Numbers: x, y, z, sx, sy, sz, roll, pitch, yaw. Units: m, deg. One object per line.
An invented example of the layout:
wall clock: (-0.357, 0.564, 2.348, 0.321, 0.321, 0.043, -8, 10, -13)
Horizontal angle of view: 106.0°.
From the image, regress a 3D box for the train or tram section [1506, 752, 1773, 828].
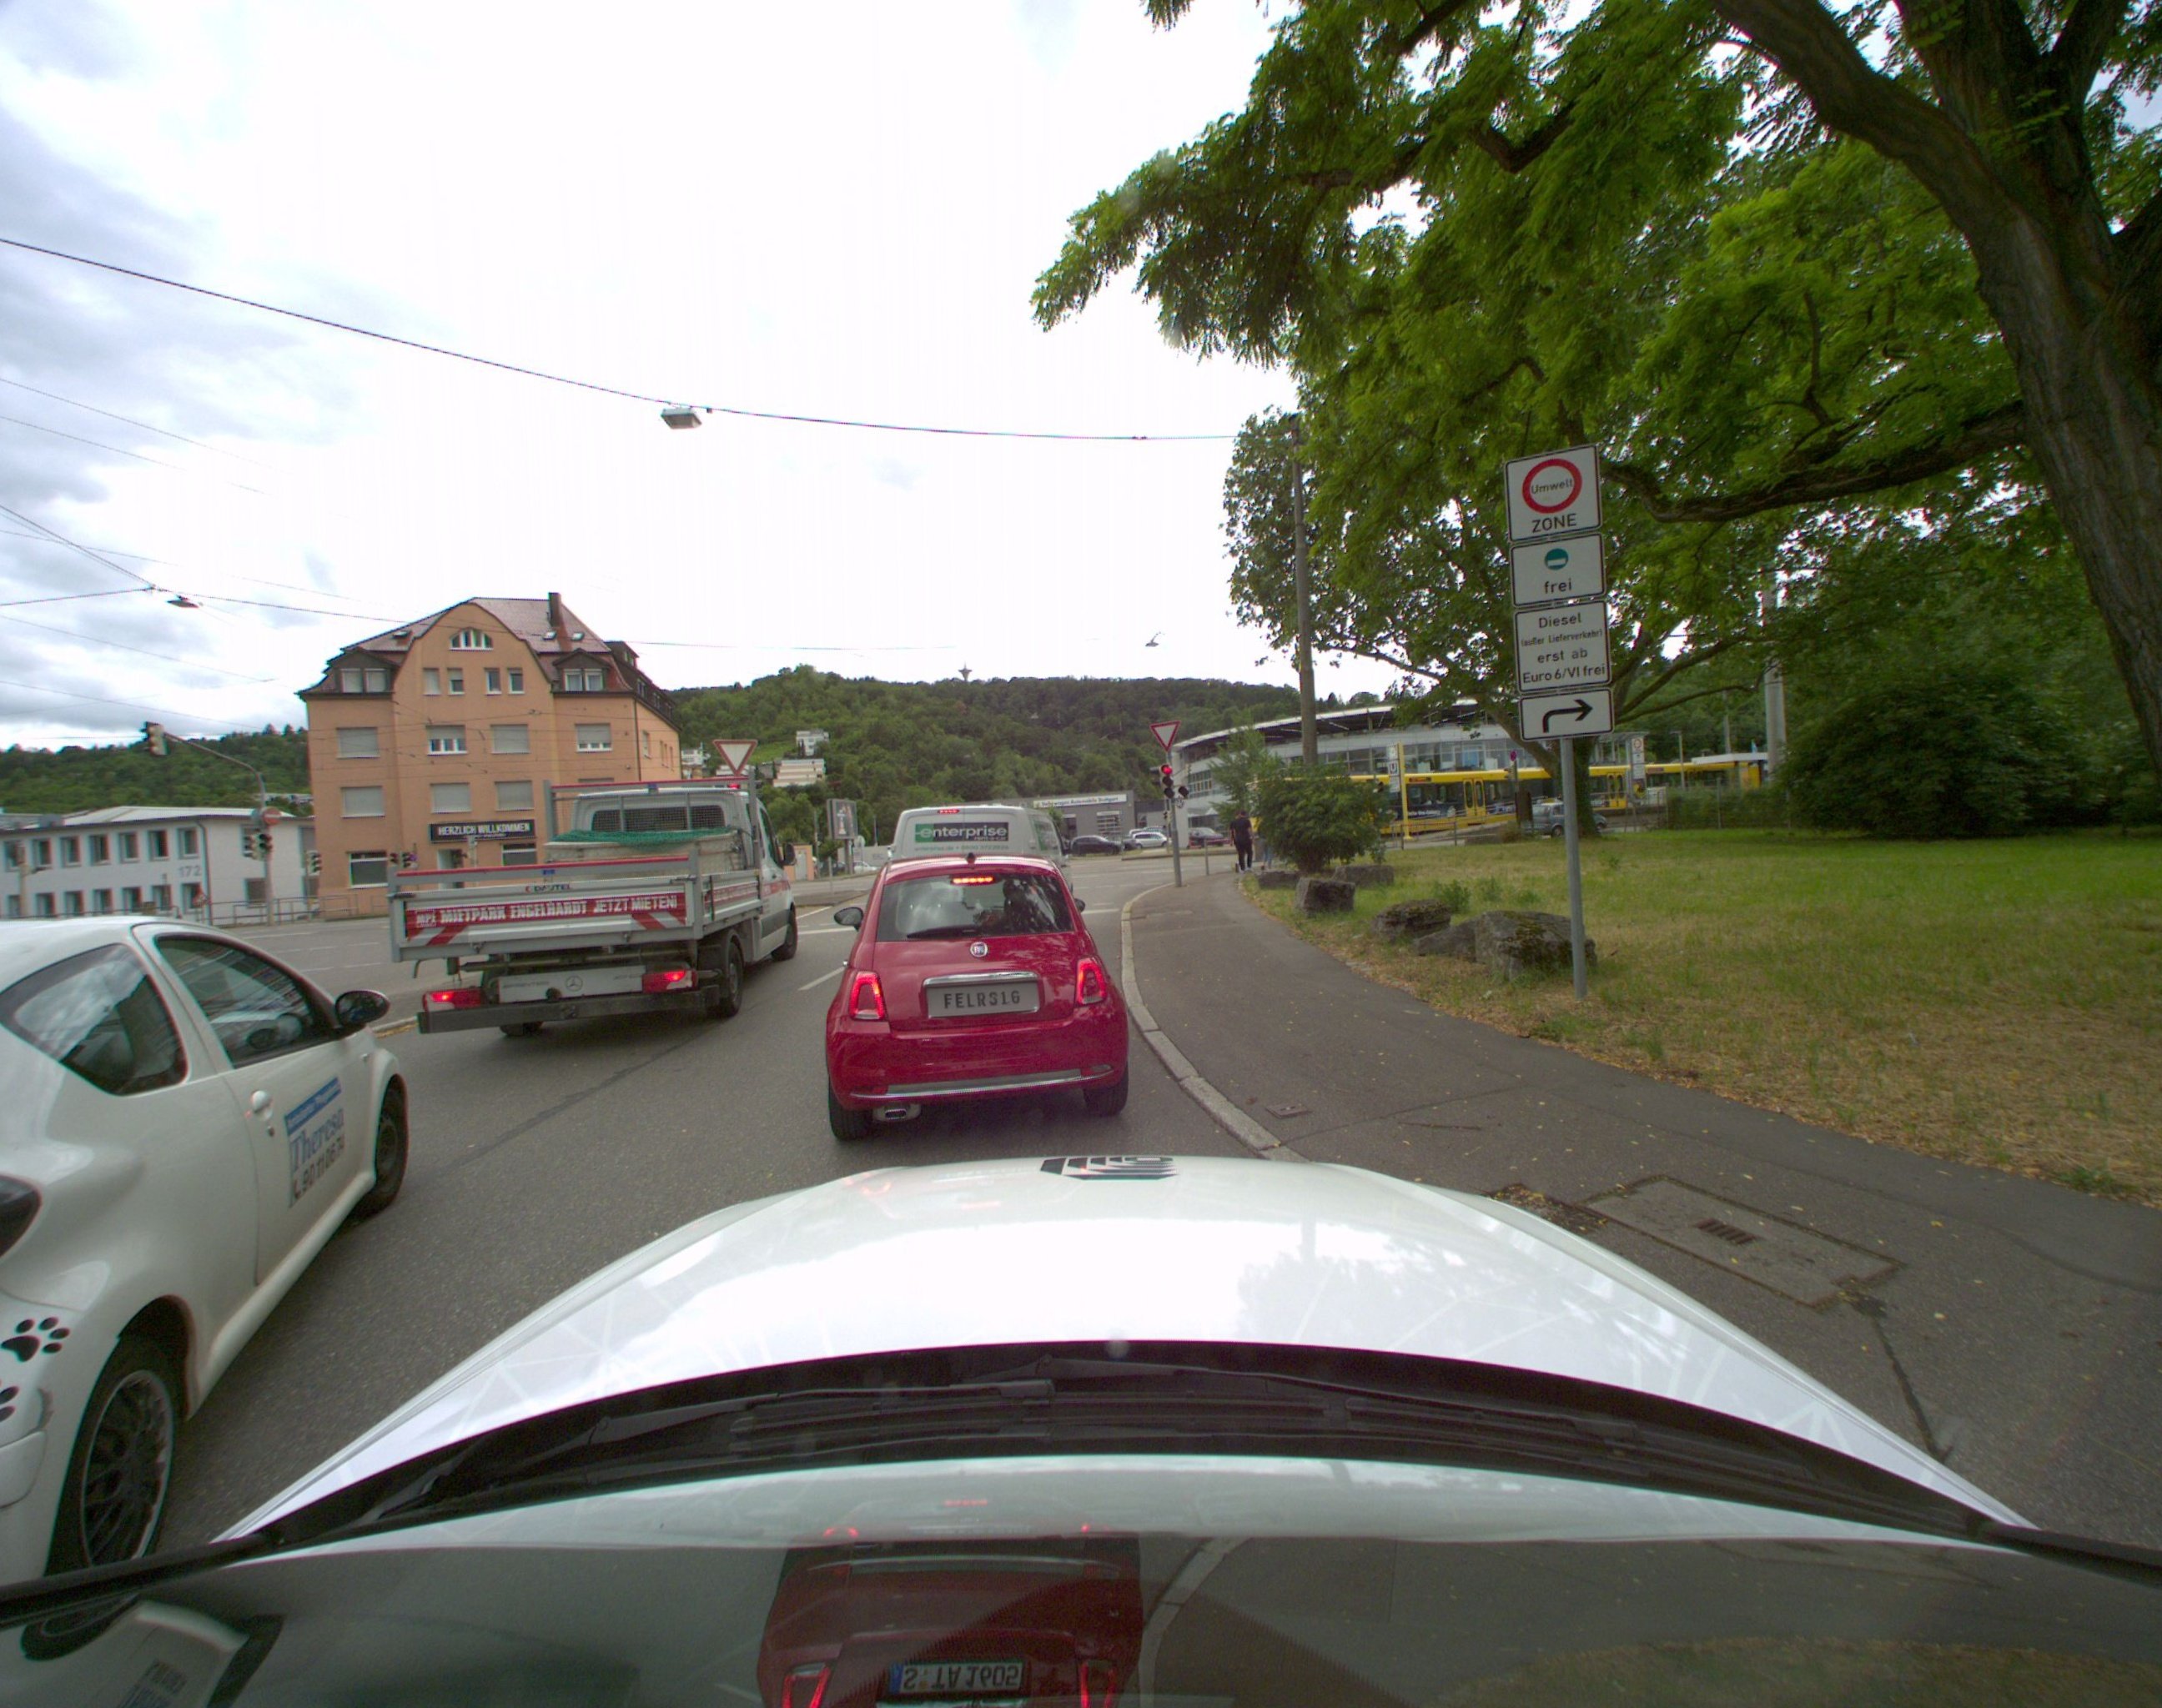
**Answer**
train or tram section: (34.836, -4.066, 50.325, 19.184, 3.665, 3.255, -4, 1, -21)

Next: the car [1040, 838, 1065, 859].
car: (-2.717, -0.590, 79.102, 1.985, 1.815, 4.004, -4, 1, 3)

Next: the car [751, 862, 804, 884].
car: (-26.650, 1.656, 71.600, 4.218, 1.533, 1.763, -4, 1, -20)

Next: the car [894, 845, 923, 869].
car: (-14.541, 0.250, 68.937, 1.858, 1.817, 4.392, -4, 1, -7)

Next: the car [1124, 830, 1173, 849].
car: (6.714, -1.462, 81.122, 4.774, 1.533, 1.778, -4, 1, 4)

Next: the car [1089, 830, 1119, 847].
car: (2.861, -1.890, 99.729, 1.974, 1.815, 4.026, -3, 1, 29)

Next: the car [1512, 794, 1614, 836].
car: (21.292, -1.731, 35.994, 3.889, 1.584, 1.791, -4, 1, -20)

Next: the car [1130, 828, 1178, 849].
car: (7.589, -1.620, 84.649, 4.774, 1.802, 1.778, -4, 1, 4)

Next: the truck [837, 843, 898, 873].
truck: (-20.108, 0.382, 76.807, 5.211, 2.393, 1.983, -4, 1, -26)

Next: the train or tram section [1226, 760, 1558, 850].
train or tram section: (16.995, -2.723, 43.455, 19.184, 3.665, 3.255, -4, 1, -21)

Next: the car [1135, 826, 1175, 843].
car: (9.192, -2.397, 101.123, 4.774, 1.802, 1.778, -4, 1, 4)

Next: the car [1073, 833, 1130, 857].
car: (1.532, -0.691, 61.533, 3.837, 1.500, 1.784, -3, 1, 18)

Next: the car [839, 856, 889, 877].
car: (-19.585, 1.124, 73.632, 4.209, 1.533, 1.767, -4, 1, -14)

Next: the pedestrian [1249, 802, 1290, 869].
pedestrian: (5.098, -0.511, 21.998, 0.686, 1.739, 0.793, -4, 1, 39)

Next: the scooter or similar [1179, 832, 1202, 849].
scooter or similar: (8.367, -1.052, 62.290, 1.658, 1.177, 0.469, -4, 1, 9)

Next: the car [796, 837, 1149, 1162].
car: (-0.759, 0.674, 5.672, 1.638, 1.456, 3.420, -3, 1, -9)

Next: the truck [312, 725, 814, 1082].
truck: (-4.658, 0.299, 8.885, 2.423, 2.397, 6.006, -4, 1, -11)

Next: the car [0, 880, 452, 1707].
car: (-3.308, 0.879, 2.468, 1.649, 1.432, 3.398, -5, 1, -30)

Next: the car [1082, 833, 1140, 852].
car: (2.629, -0.980, 70.653, 4.636, 1.327, 1.783, -4, 1, 15)

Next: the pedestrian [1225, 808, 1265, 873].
pedestrian: (4.503, -0.367, 22.336, 0.686, 1.714, 0.793, -4, 1, 40)

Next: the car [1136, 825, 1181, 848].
car: (8.495, -1.909, 89.551, 4.774, 2.156, 2.237, -4, 1, 4)

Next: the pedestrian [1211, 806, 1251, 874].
pedestrian: (4.257, -0.401, 23.081, 0.686, 1.857, 0.793, -4, 1, 39)

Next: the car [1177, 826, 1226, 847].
car: (9.560, -1.378, 65.080, 1.782, 1.500, 3.843, -4, 1, -31)

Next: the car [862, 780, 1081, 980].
car: (-1.229, 0.242, 11.492, 1.981, 2.106, 4.767, -4, 1, 4)

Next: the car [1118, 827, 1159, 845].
car: (6.819, -2.145, 96.282, 4.774, 1.802, 1.778, -4, 1, 4)
